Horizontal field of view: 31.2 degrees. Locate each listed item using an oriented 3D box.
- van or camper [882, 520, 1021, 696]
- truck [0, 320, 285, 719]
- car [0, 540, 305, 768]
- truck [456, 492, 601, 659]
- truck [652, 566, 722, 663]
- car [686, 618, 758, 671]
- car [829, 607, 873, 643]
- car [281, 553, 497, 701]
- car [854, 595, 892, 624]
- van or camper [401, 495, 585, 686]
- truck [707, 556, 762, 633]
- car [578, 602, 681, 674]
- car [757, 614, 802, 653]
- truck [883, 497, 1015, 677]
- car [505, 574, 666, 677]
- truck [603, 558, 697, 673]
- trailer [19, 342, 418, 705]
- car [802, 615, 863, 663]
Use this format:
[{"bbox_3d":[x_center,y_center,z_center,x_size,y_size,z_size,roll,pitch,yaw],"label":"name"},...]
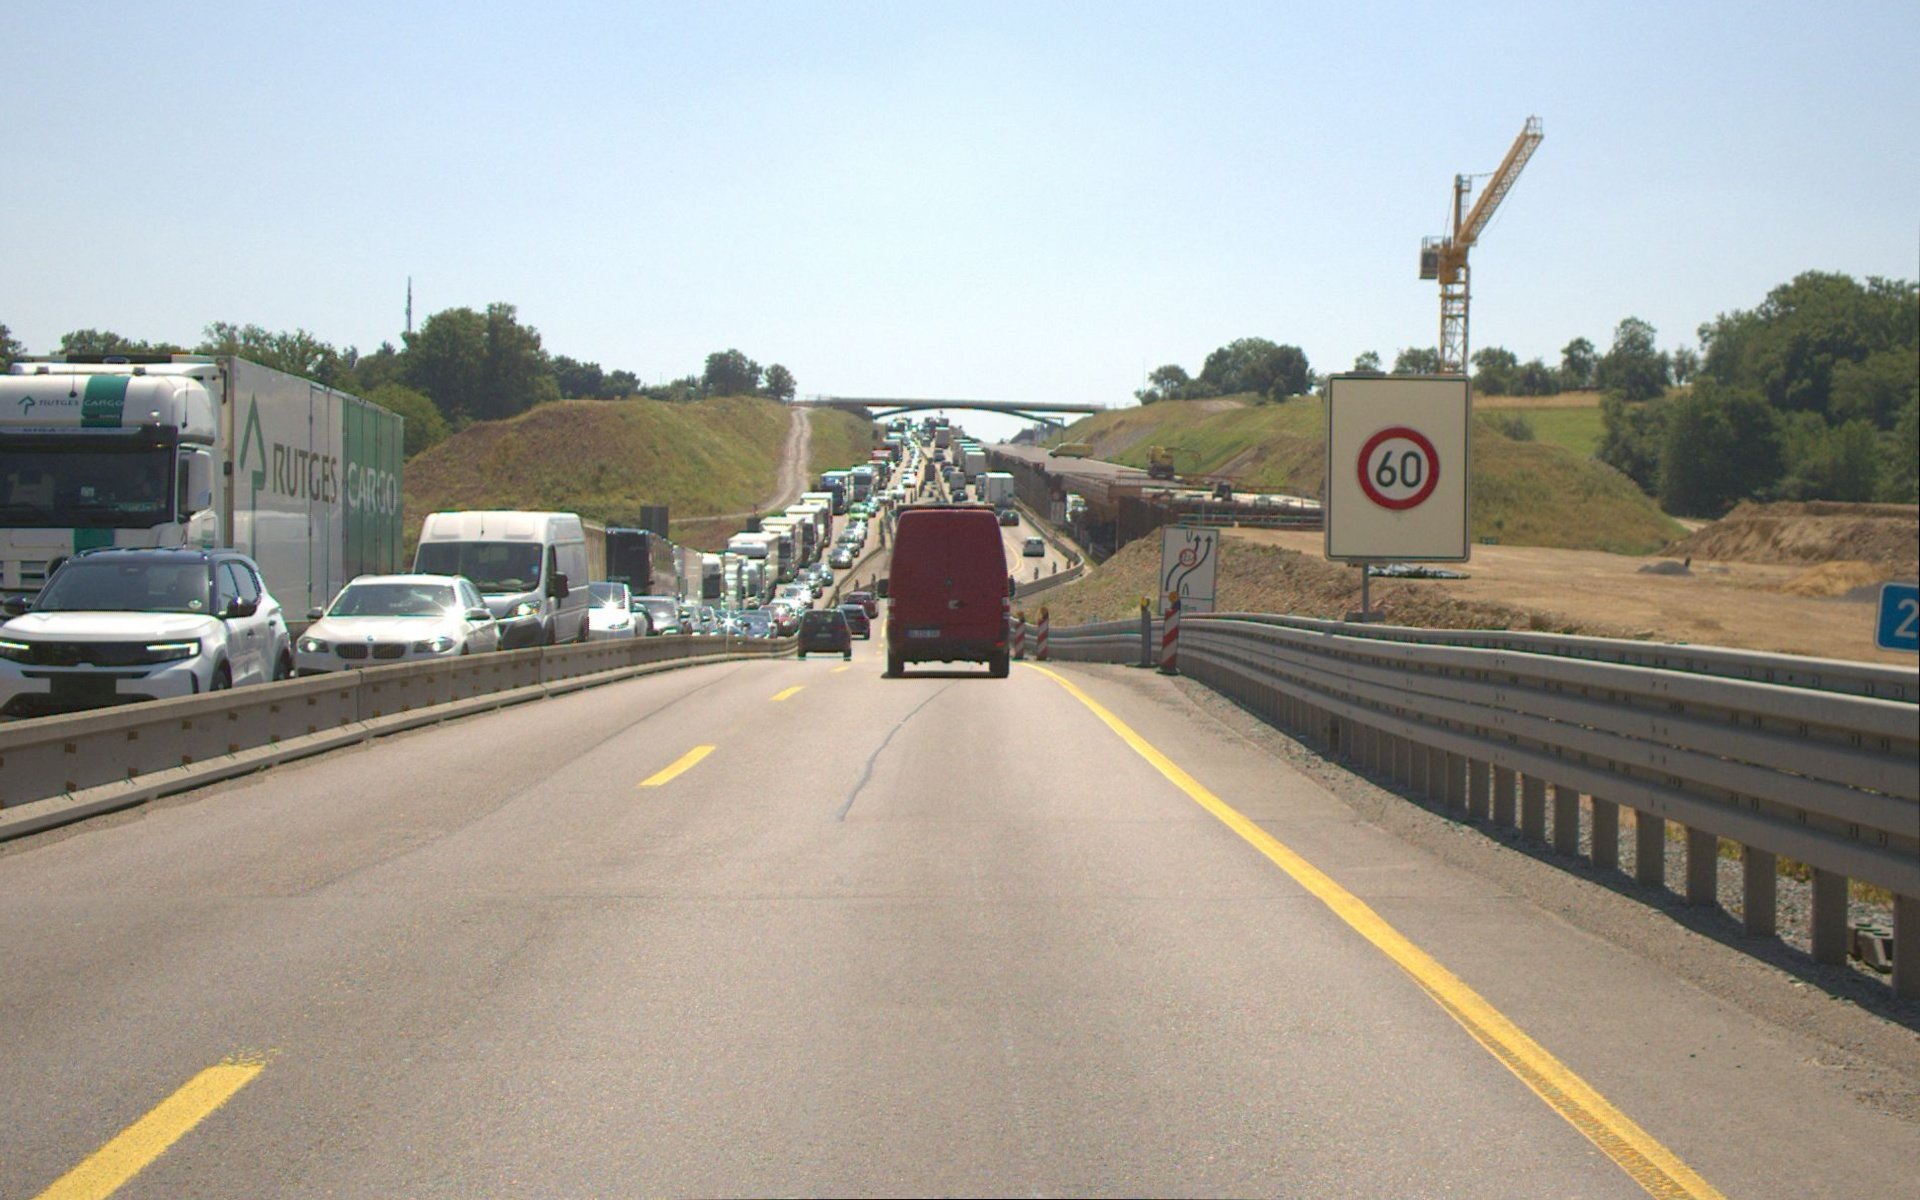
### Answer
[{"bbox_3d":[-0.181,0.101,56.021,2.029,2.735,4.516,1,0,-3],"label":"van or camper"},{"bbox_3d":[-10.042,-0.921,40.921,2.806,4.377,6.225,0,1,0],"label":"truck"},{"bbox_3d":[-6.551,0.378,27.762,1.756,1.641,4.156,2,1,-1],"label":"car"},{"bbox_3d":[-11.421,-0.590,91.897,2.802,4.138,10.079,2,0,-2],"label":"truck"},{"bbox_3d":[-12.051,0.637,151.950,2.977,4.170,5.875,1,0,-4],"label":"truck"},{"bbox_3d":[-7.253,1.343,105.144,1.918,1.418,5.091,3,0,-1],"label":"car"},{"bbox_3d":[-5.201,1.177,163.741,2.012,1.540,4.133,2,1,-2],"label":"car"},{"bbox_3d":[-6.433,0.260,39.227,1.993,1.493,4.976,2,1,-5],"label":"car"},{"bbox_3d":[-4.904,0.548,195.006,2.012,1.540,4.132,2,1,0],"label":"car"},{"bbox_3d":[-6.667,-0.170,49.748,2.218,2.503,6.534,2,1,-5],"label":"van or camper"},{"bbox_3d":[-11.610,-0.283,177.533,2.524,3.843,8.672,1,0,-2],"label":"truck"},{"bbox_3d":[-7.349,0.829,76.936,1.882,1.427,5.125,2,1,-1],"label":"car"},{"bbox_3d":[-8.464,1.560,161.381,1.993,1.626,4.758,2,1,-2],"label":"car"},{"bbox_3d":[-0.364,-0.384,93.702,3.020,4.677,6.933,-1,1,-4],"label":"truck"},{"bbox_3d":[-6.952,0.430,64.373,2.371,1.720,5.781,2,1,-1],"label":"car"},{"bbox_3d":[-11.650,0.552,129.740,3.097,4.184,6.702,1,0,-2],"label":"truck"},{"bbox_3d":[-10.057,-0.897,48.399,2.815,4.415,13.168,0,0,0],"label":"trailer"},{"bbox_3d":[-4.341,1.314,117.037,2.012,1.540,4.133,1,0,-2],"label":"car"}]
